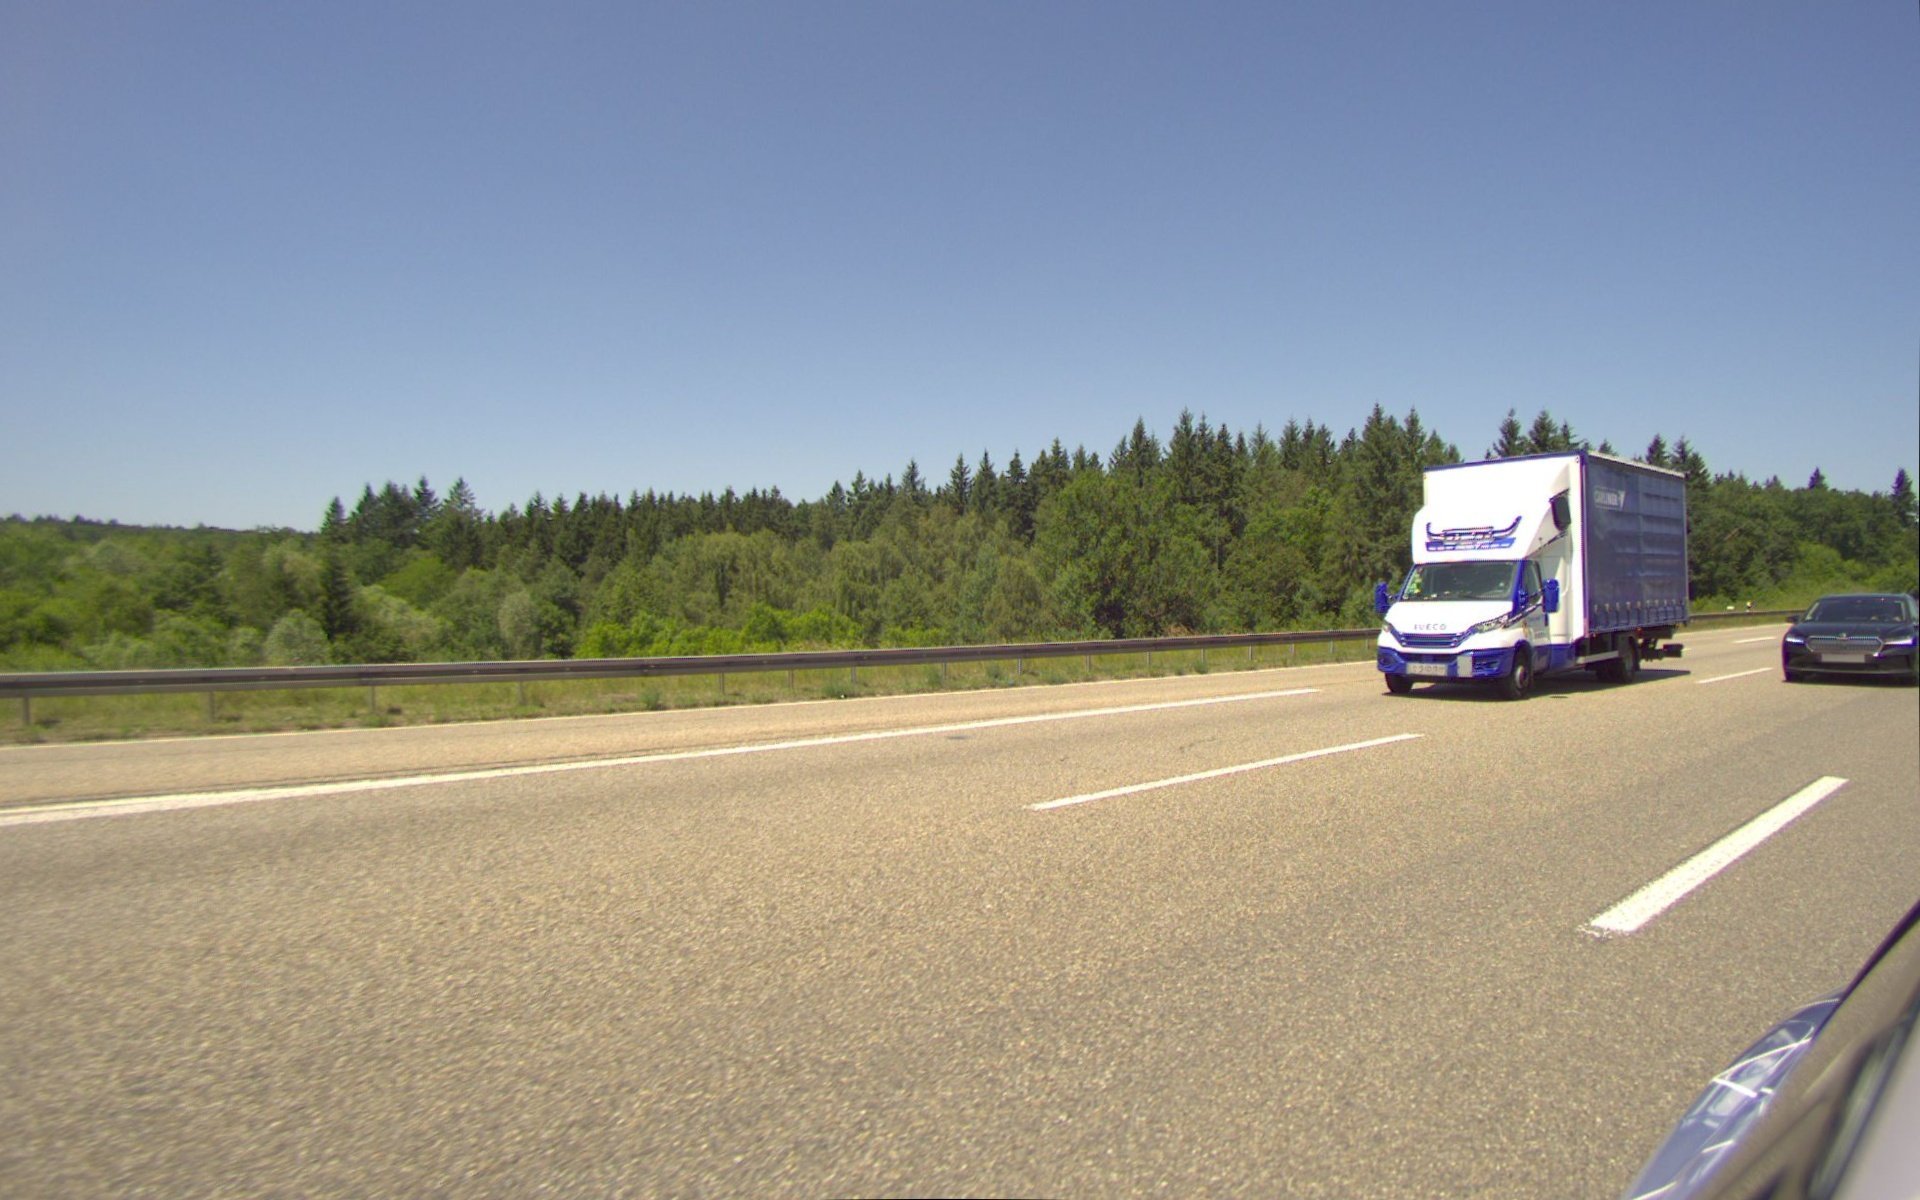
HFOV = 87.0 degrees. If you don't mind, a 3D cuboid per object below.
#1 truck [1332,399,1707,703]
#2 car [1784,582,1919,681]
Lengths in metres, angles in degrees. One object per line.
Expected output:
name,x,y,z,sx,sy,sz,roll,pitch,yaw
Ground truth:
truck,10.440,-0.710,18.176,9.571,4.181,2.787,-1,-1,-42
car,17.056,0.569,18.772,4.378,1.640,1.988,1,-2,-40
